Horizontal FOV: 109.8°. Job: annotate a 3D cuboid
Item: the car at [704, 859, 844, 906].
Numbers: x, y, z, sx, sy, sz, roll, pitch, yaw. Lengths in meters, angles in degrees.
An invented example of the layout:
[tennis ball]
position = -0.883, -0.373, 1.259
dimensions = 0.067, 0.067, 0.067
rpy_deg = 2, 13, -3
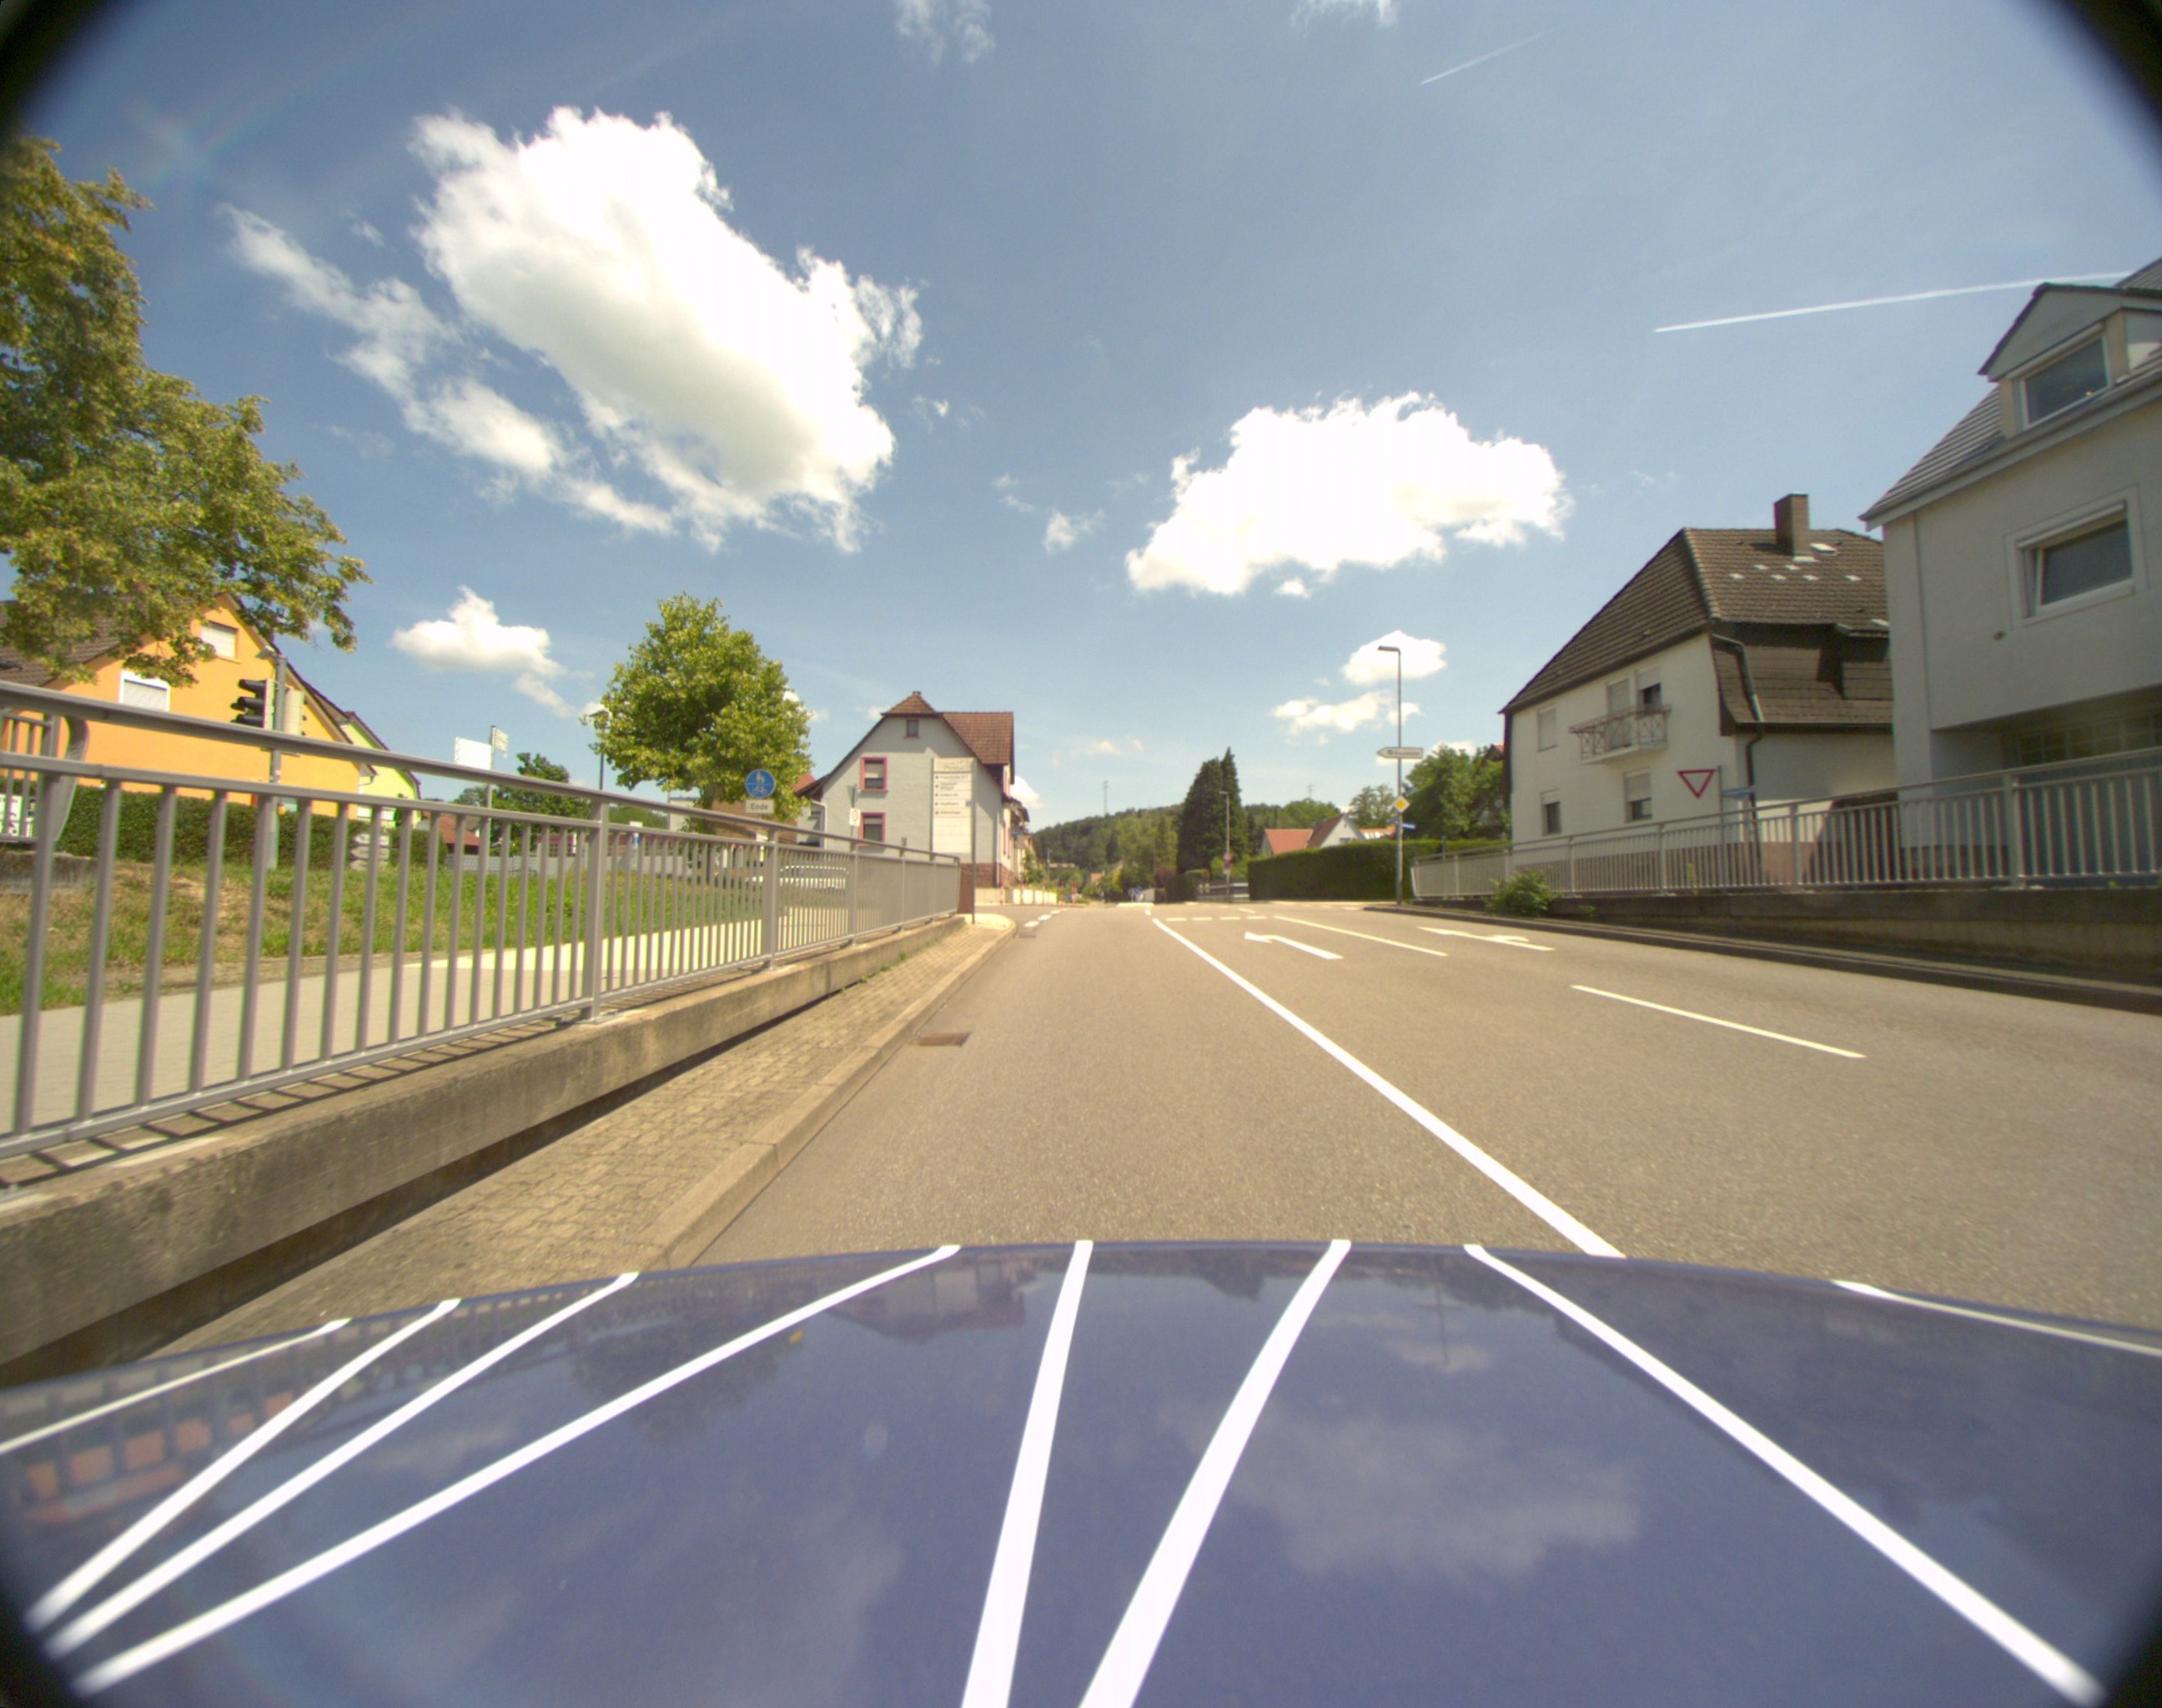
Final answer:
[car]
position = -12.112, 1.144, 30.149
dimensions = 4.829, 1.632, 1.683
rpy_deg = -2, -4, -2
